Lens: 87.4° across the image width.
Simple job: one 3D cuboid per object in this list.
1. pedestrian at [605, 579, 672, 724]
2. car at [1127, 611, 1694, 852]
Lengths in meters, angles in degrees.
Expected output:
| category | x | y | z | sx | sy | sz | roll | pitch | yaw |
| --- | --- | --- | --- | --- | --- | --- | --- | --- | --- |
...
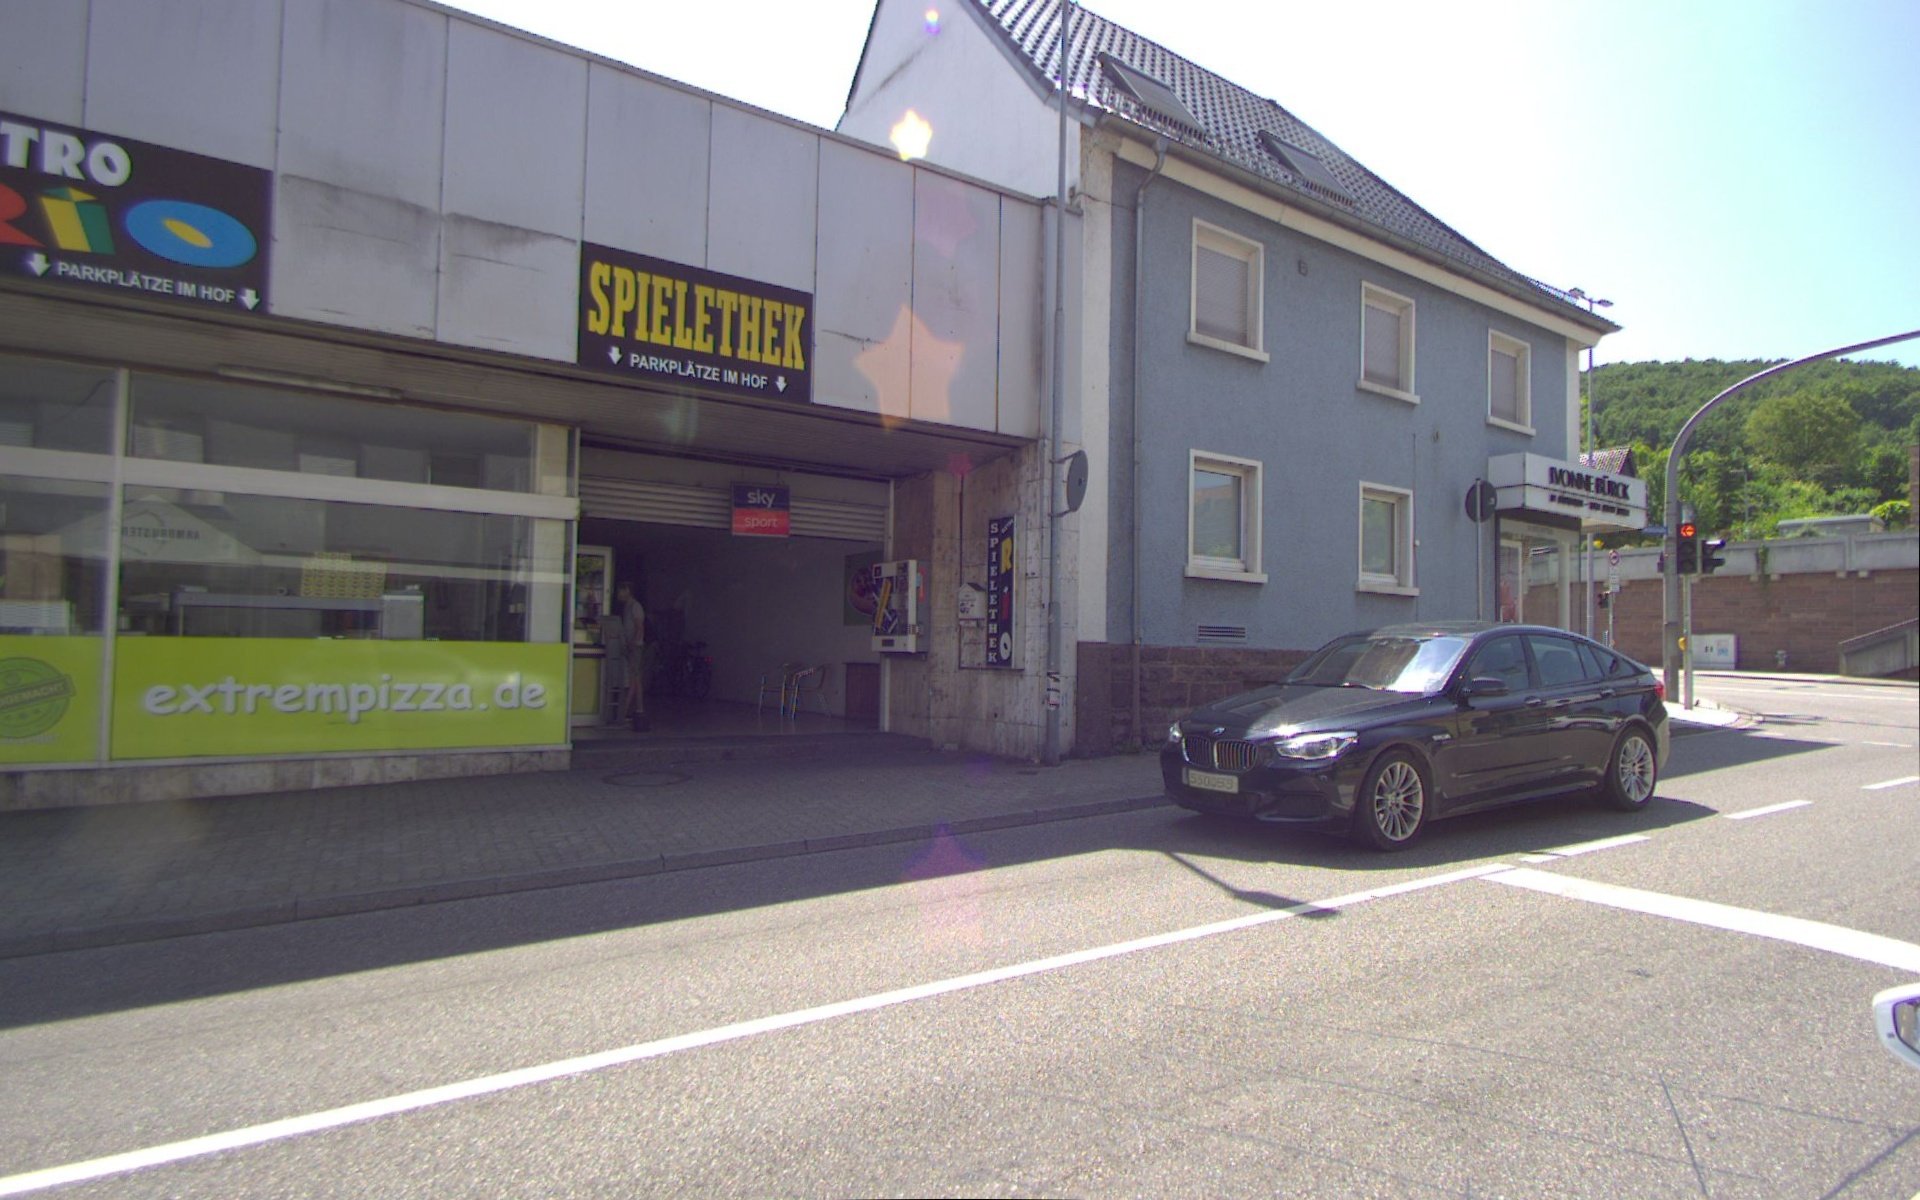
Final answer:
| category | x | y | z | sx | sy | sz | roll | pitch | yaw |
| --- | --- | --- | --- | --- | --- | --- | --- | --- | --- |
| pedestrian | -4.255 | 0.667 | 13.288 | 0.686 | 1.852 | 0.738 | 1 | -1 | -30 |
| car | 3.807 | 0.957 | 8.274 | 4.740 | 1.506 | 1.789 | 2 | -5 | -30 |
